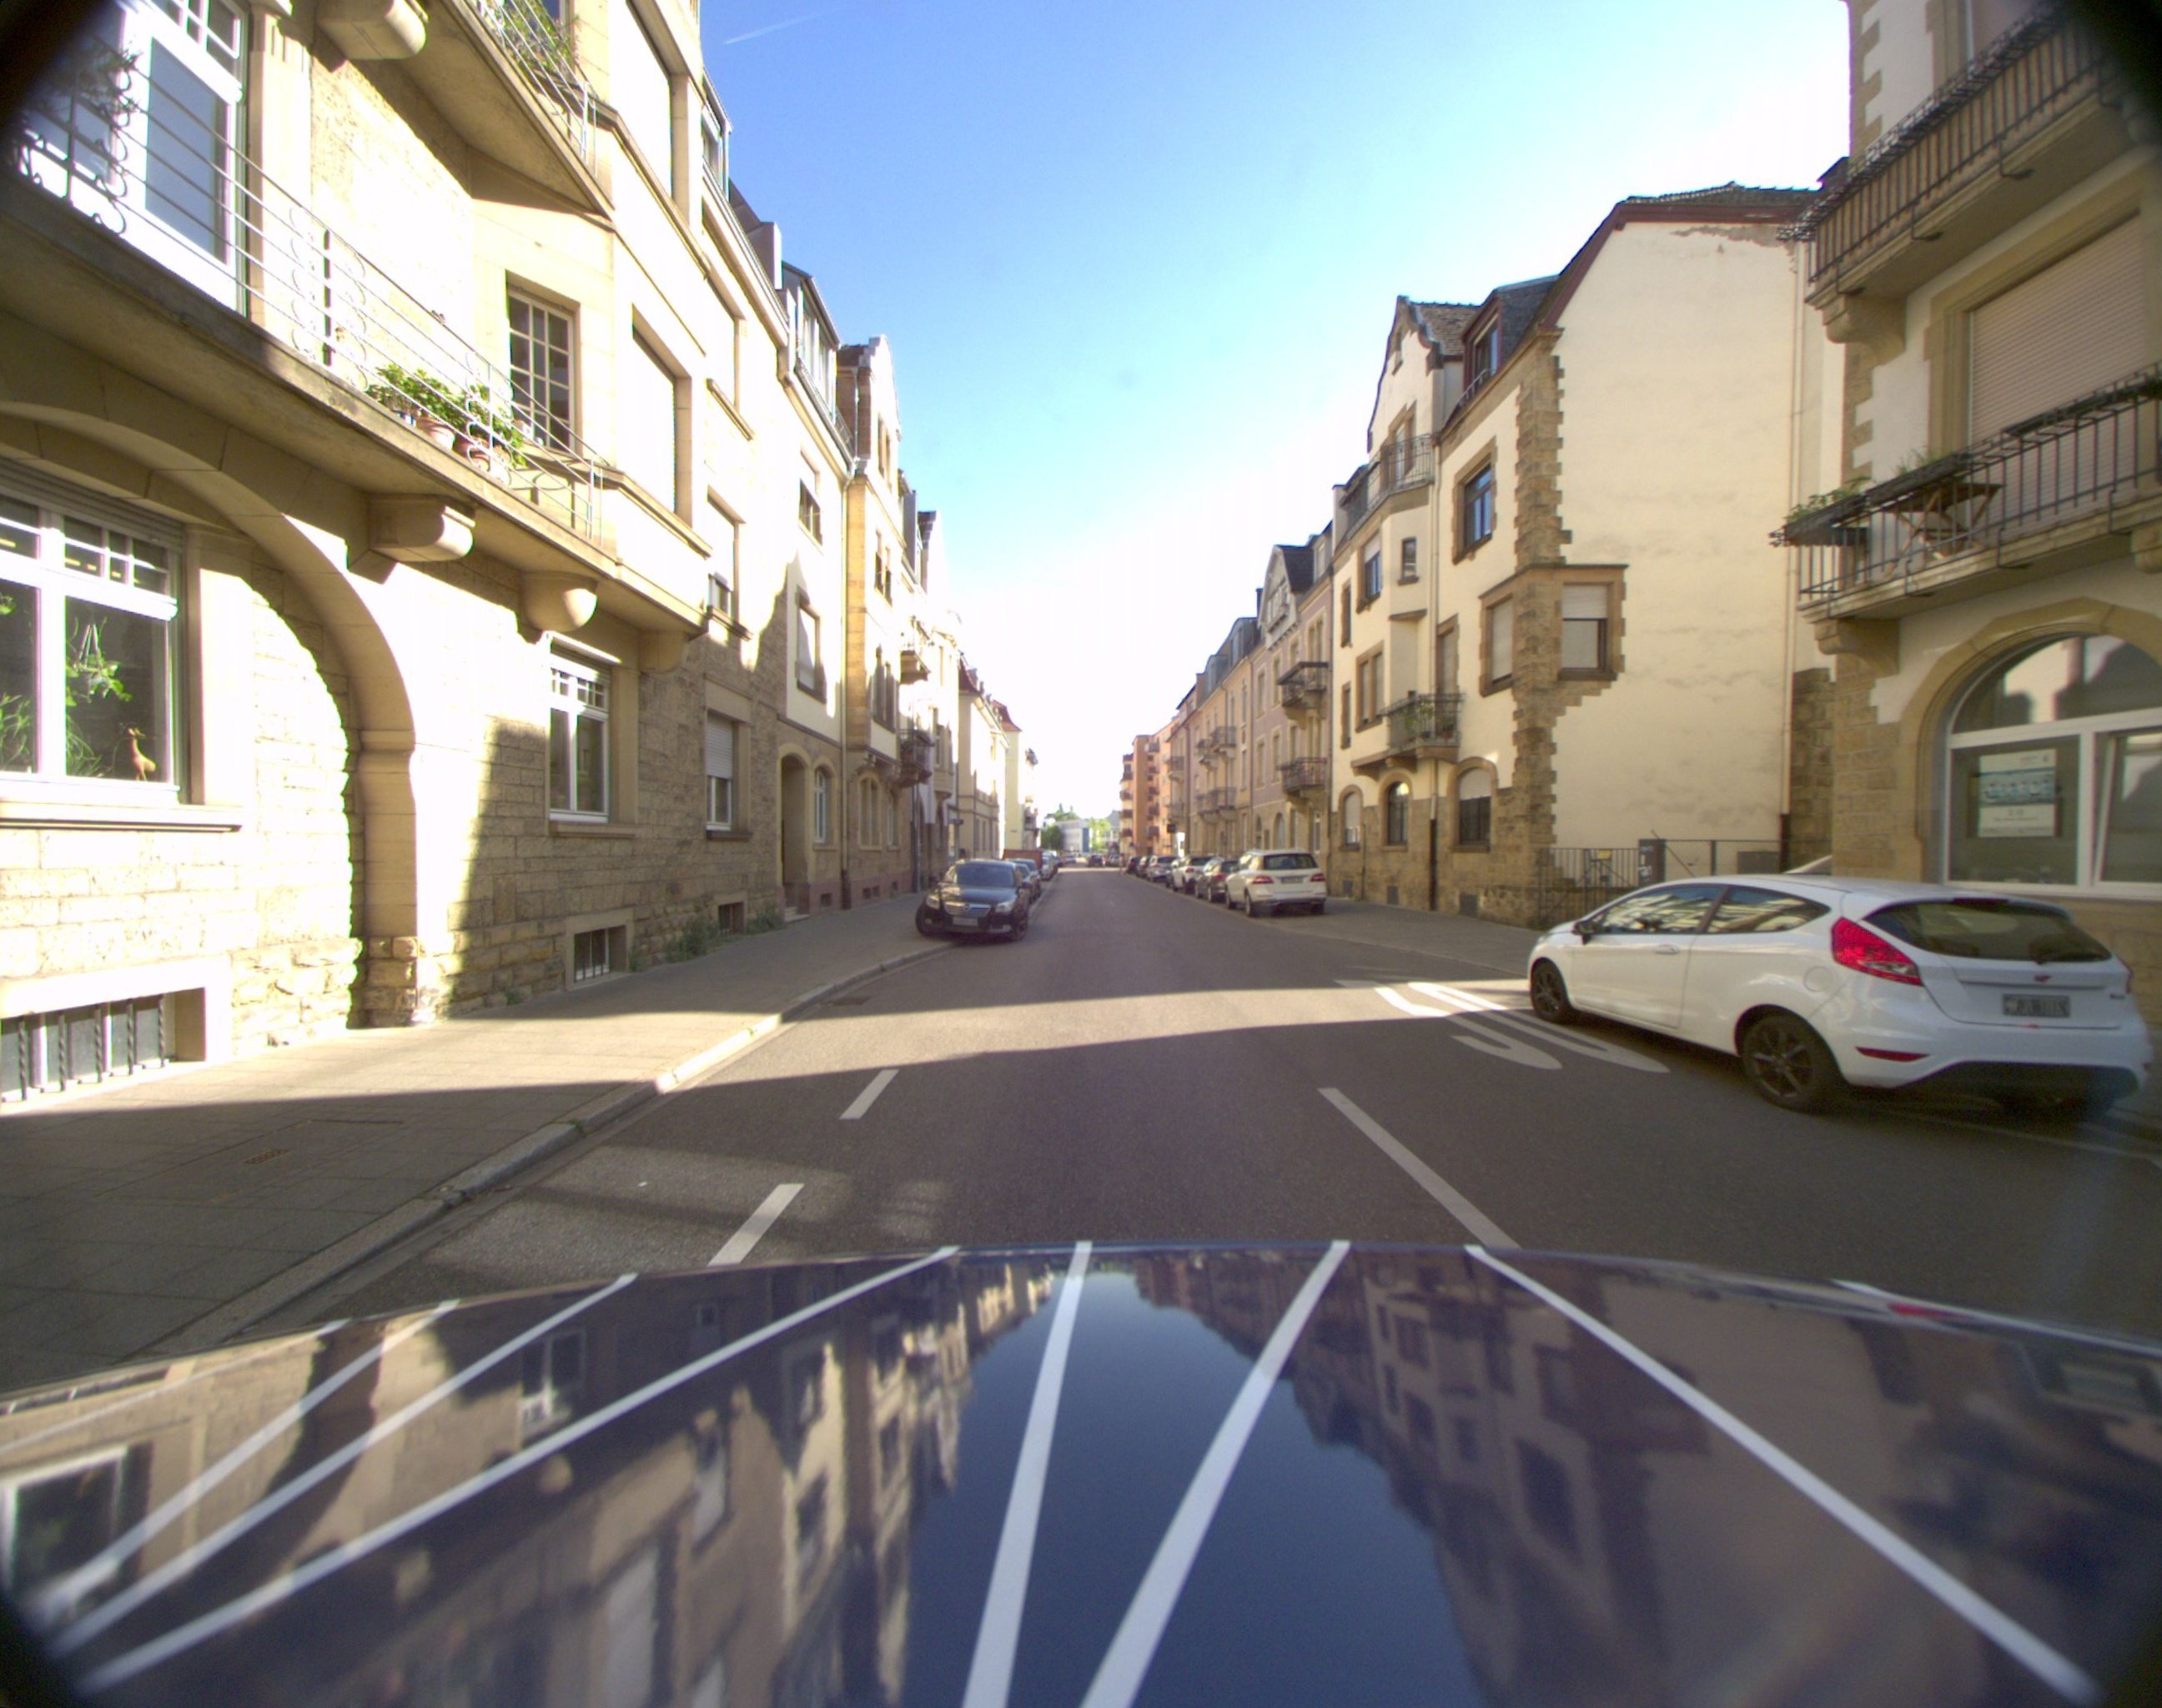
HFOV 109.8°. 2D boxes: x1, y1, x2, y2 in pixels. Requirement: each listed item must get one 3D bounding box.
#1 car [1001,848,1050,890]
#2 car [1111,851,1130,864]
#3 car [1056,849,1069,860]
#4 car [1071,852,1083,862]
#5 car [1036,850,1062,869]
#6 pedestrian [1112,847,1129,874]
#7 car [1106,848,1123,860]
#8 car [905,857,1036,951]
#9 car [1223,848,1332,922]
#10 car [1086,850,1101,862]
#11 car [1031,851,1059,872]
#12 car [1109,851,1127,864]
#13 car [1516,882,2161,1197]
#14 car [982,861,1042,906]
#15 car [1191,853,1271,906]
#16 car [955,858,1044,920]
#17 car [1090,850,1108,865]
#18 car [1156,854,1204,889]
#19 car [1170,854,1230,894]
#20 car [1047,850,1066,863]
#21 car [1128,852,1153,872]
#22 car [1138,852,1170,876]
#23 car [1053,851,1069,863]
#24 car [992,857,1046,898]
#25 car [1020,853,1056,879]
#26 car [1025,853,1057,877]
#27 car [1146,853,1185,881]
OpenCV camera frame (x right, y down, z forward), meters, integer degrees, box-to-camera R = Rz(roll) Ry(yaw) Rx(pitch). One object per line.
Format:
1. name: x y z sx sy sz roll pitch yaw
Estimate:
1. car: -2.559 0.649 35.813 2.005 1.828 4.320 1 1 -1
2. car: 4.673 0.406 91.395 2.005 1.500 4.320 1 1 -1
3. car: -2.941 0.064 123.339 2.005 1.722 4.320 1 1 -1
4. car: -0.653 0.506 127.437 2.005 1.500 4.320 1 1 -1
5. car: -2.672 0.450 64.503 2.005 1.500 4.320 1 1 -1
6. pedestrian: 2.957 0.478 56.945 1.066 2.002 0.952 -2 1 -7
7. car: 4.518 0.000 101.961 2.005 1.500 4.320 1 1 -1
8. car: -2.037 0.881 15.280 2.024 1.500 4.111 2 1 -1
9. car: 5.196 0.752 20.702 1.890 1.717 4.211 -2 1 1
10. car: 1.547 0.242 95.231 1.702 1.474 3.534 1 0 0
11. car: -2.744 0.534 58.669 2.005 1.500 4.320 1 1 -1
12. car: 4.623 0.389 96.209 2.005 1.500 4.320 1 1 -1
13. car: 5.112 1.016 5.703 1.656 1.449 3.643 2 0 2
14. car: -2.233 0.926 25.382 1.661 1.272 3.729 1 1 -1
15. car: 5.123 0.821 26.548 1.890 1.500 4.320 -4 1 1
16. car: -2.097 0.873 20.803 2.005 1.499 4.321 1 0 -1
17. car: 1.826 0.313 77.064 1.656 1.449 3.642 0 1 -1
18. car: 4.856 0.817 37.810 1.857 1.491 4.318 -2 1 1
19. car: 4.985 0.795 32.369 1.890 1.500 4.320 -2 1 1
20. car: -2.844 0.263 88.982 2.005 1.500 4.320 1 1 -1
21. car: 4.893 0.640 62.977 1.793 1.500 4.320 -2 1 1
22. car: 4.992 0.668 52.354 1.809 1.500 4.003 -2 1 1
23. car: -2.583 0.427 99.956 2.005 1.500 4.320 1 1 -1
24. car: -2.384 0.890 30.124 1.824 1.415 4.320 1 1 -1
25. car: -2.652 0.716 47.871 2.005 1.500 4.320 1 1 -1
26. car: -2.748 0.735 52.644 2.005 1.500 4.320 1 1 -1
27. car: 5.021 0.733 45.836 1.890 1.500 4.320 -2 1 1
